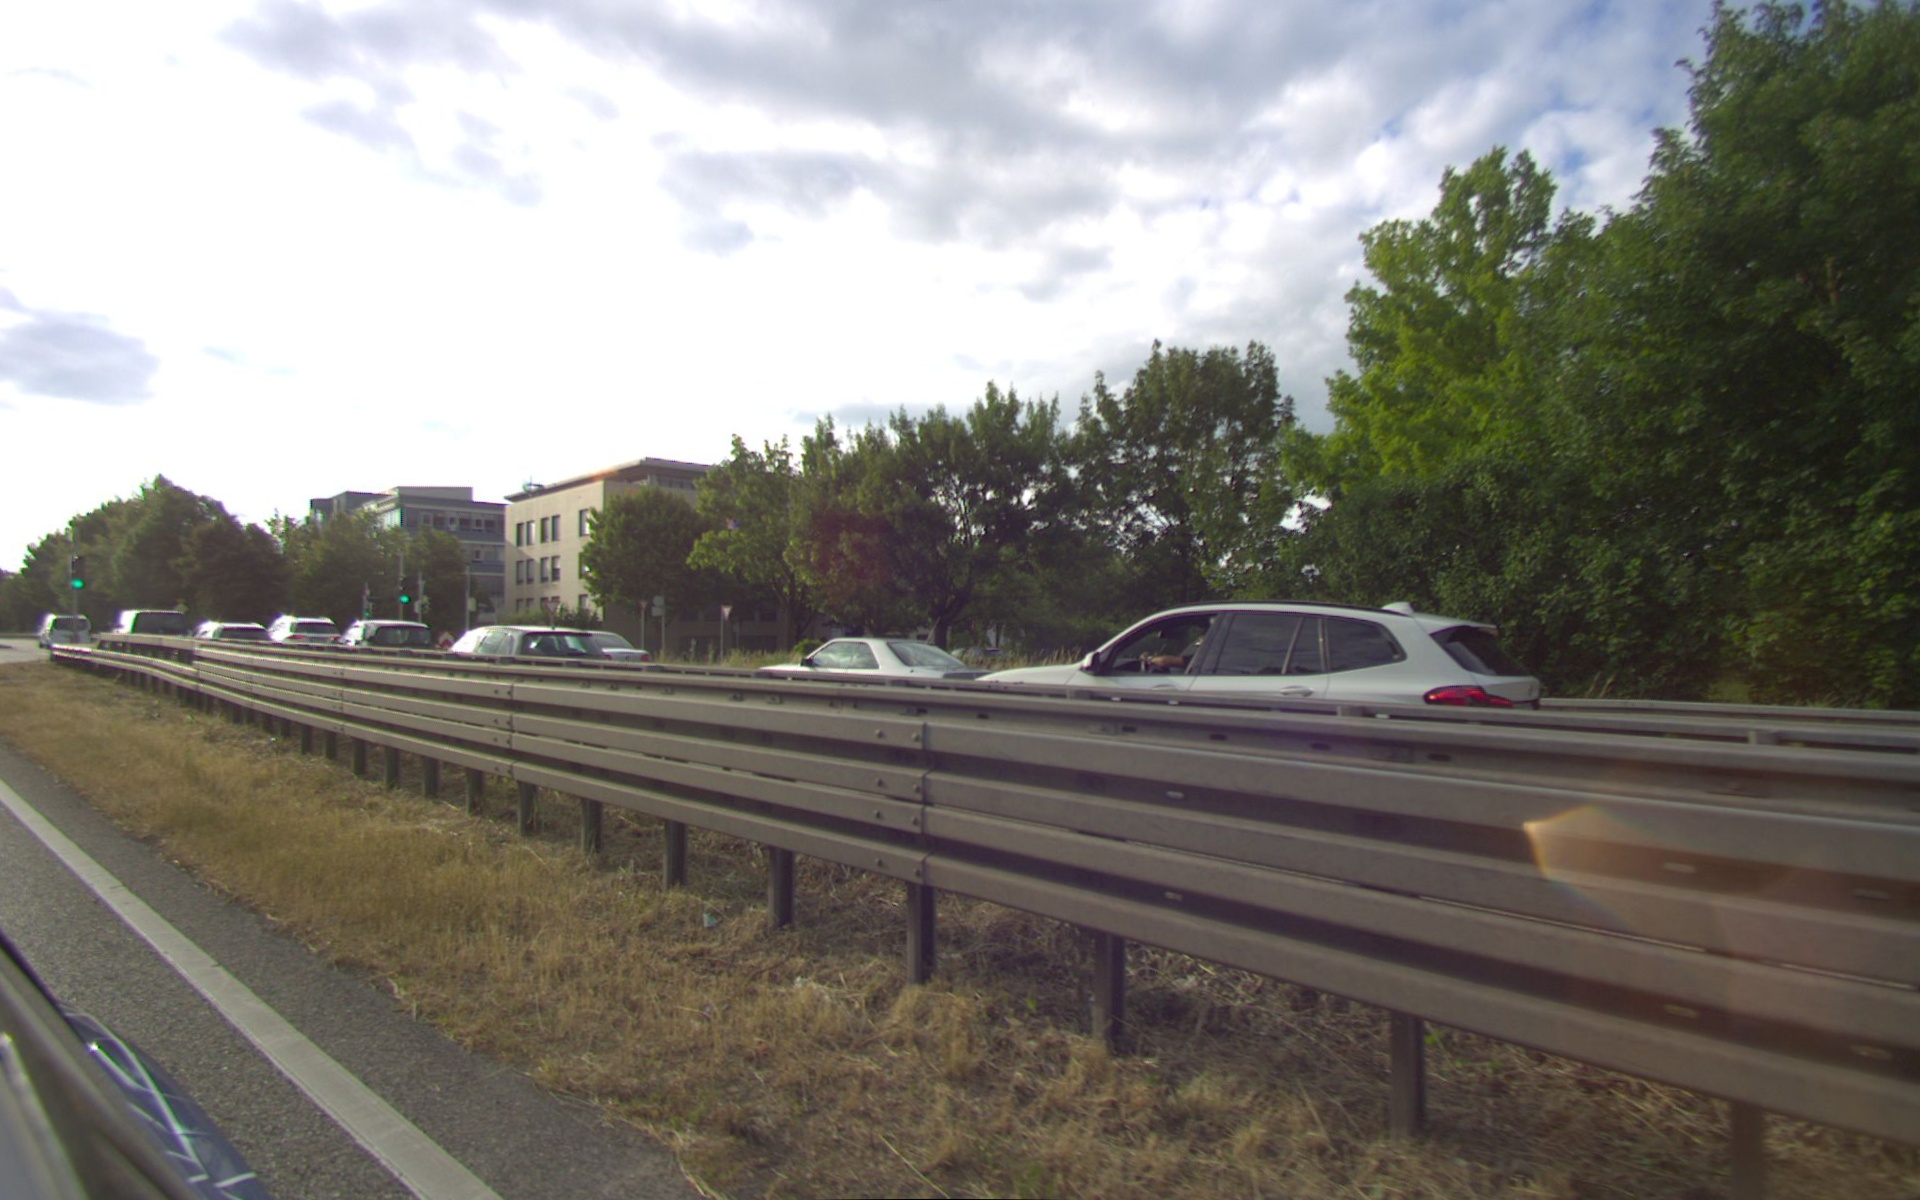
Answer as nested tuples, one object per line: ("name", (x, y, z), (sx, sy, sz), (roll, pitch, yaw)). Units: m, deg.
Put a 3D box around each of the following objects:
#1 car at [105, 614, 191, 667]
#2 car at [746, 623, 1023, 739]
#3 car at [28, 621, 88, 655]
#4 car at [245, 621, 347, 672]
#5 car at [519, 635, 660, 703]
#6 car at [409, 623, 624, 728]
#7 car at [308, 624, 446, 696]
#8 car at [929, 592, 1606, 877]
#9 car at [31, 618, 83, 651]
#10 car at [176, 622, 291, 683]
("car", (-31.445, 1.534, 39.148), (5.051, 1.931, 1.877), (-1, -3, 43))
("car", (-1.283, 1.143, 15.767), (4.396, 1.548, 1.815), (-1, -2, 43))
("car", (-51.350, 2.139, 57.589), (5.345, 1.886, 1.914), (-1, -3, 42))
("car", (-24.487, 1.685, 37.257), (4.845, 1.763, 2.012), (-1, -4, 43))
("car", (-8.137, 1.450, 22.131), (3.307, 1.364, 1.415), (-1, -2, 40))
("car", (-7.092, 1.102, 16.044), (3.733, 1.478, 1.700), (-1, -2, 41))
("car", (-12.527, 1.250, 21.678), (3.461, 1.371, 1.540), (-2, -1, 41))
("car", (2.108, 0.806, 7.954), (4.789, 1.596, 1.803), (-1, -2, 42))
("car", (-57.066, 2.167, 63.908), (5.089, 2.005, 1.914), (-1, -1, 42))
("car", (-20.725, 1.434, 28.796), (4.552, 1.601, 1.694), (-1, -2, 41))
